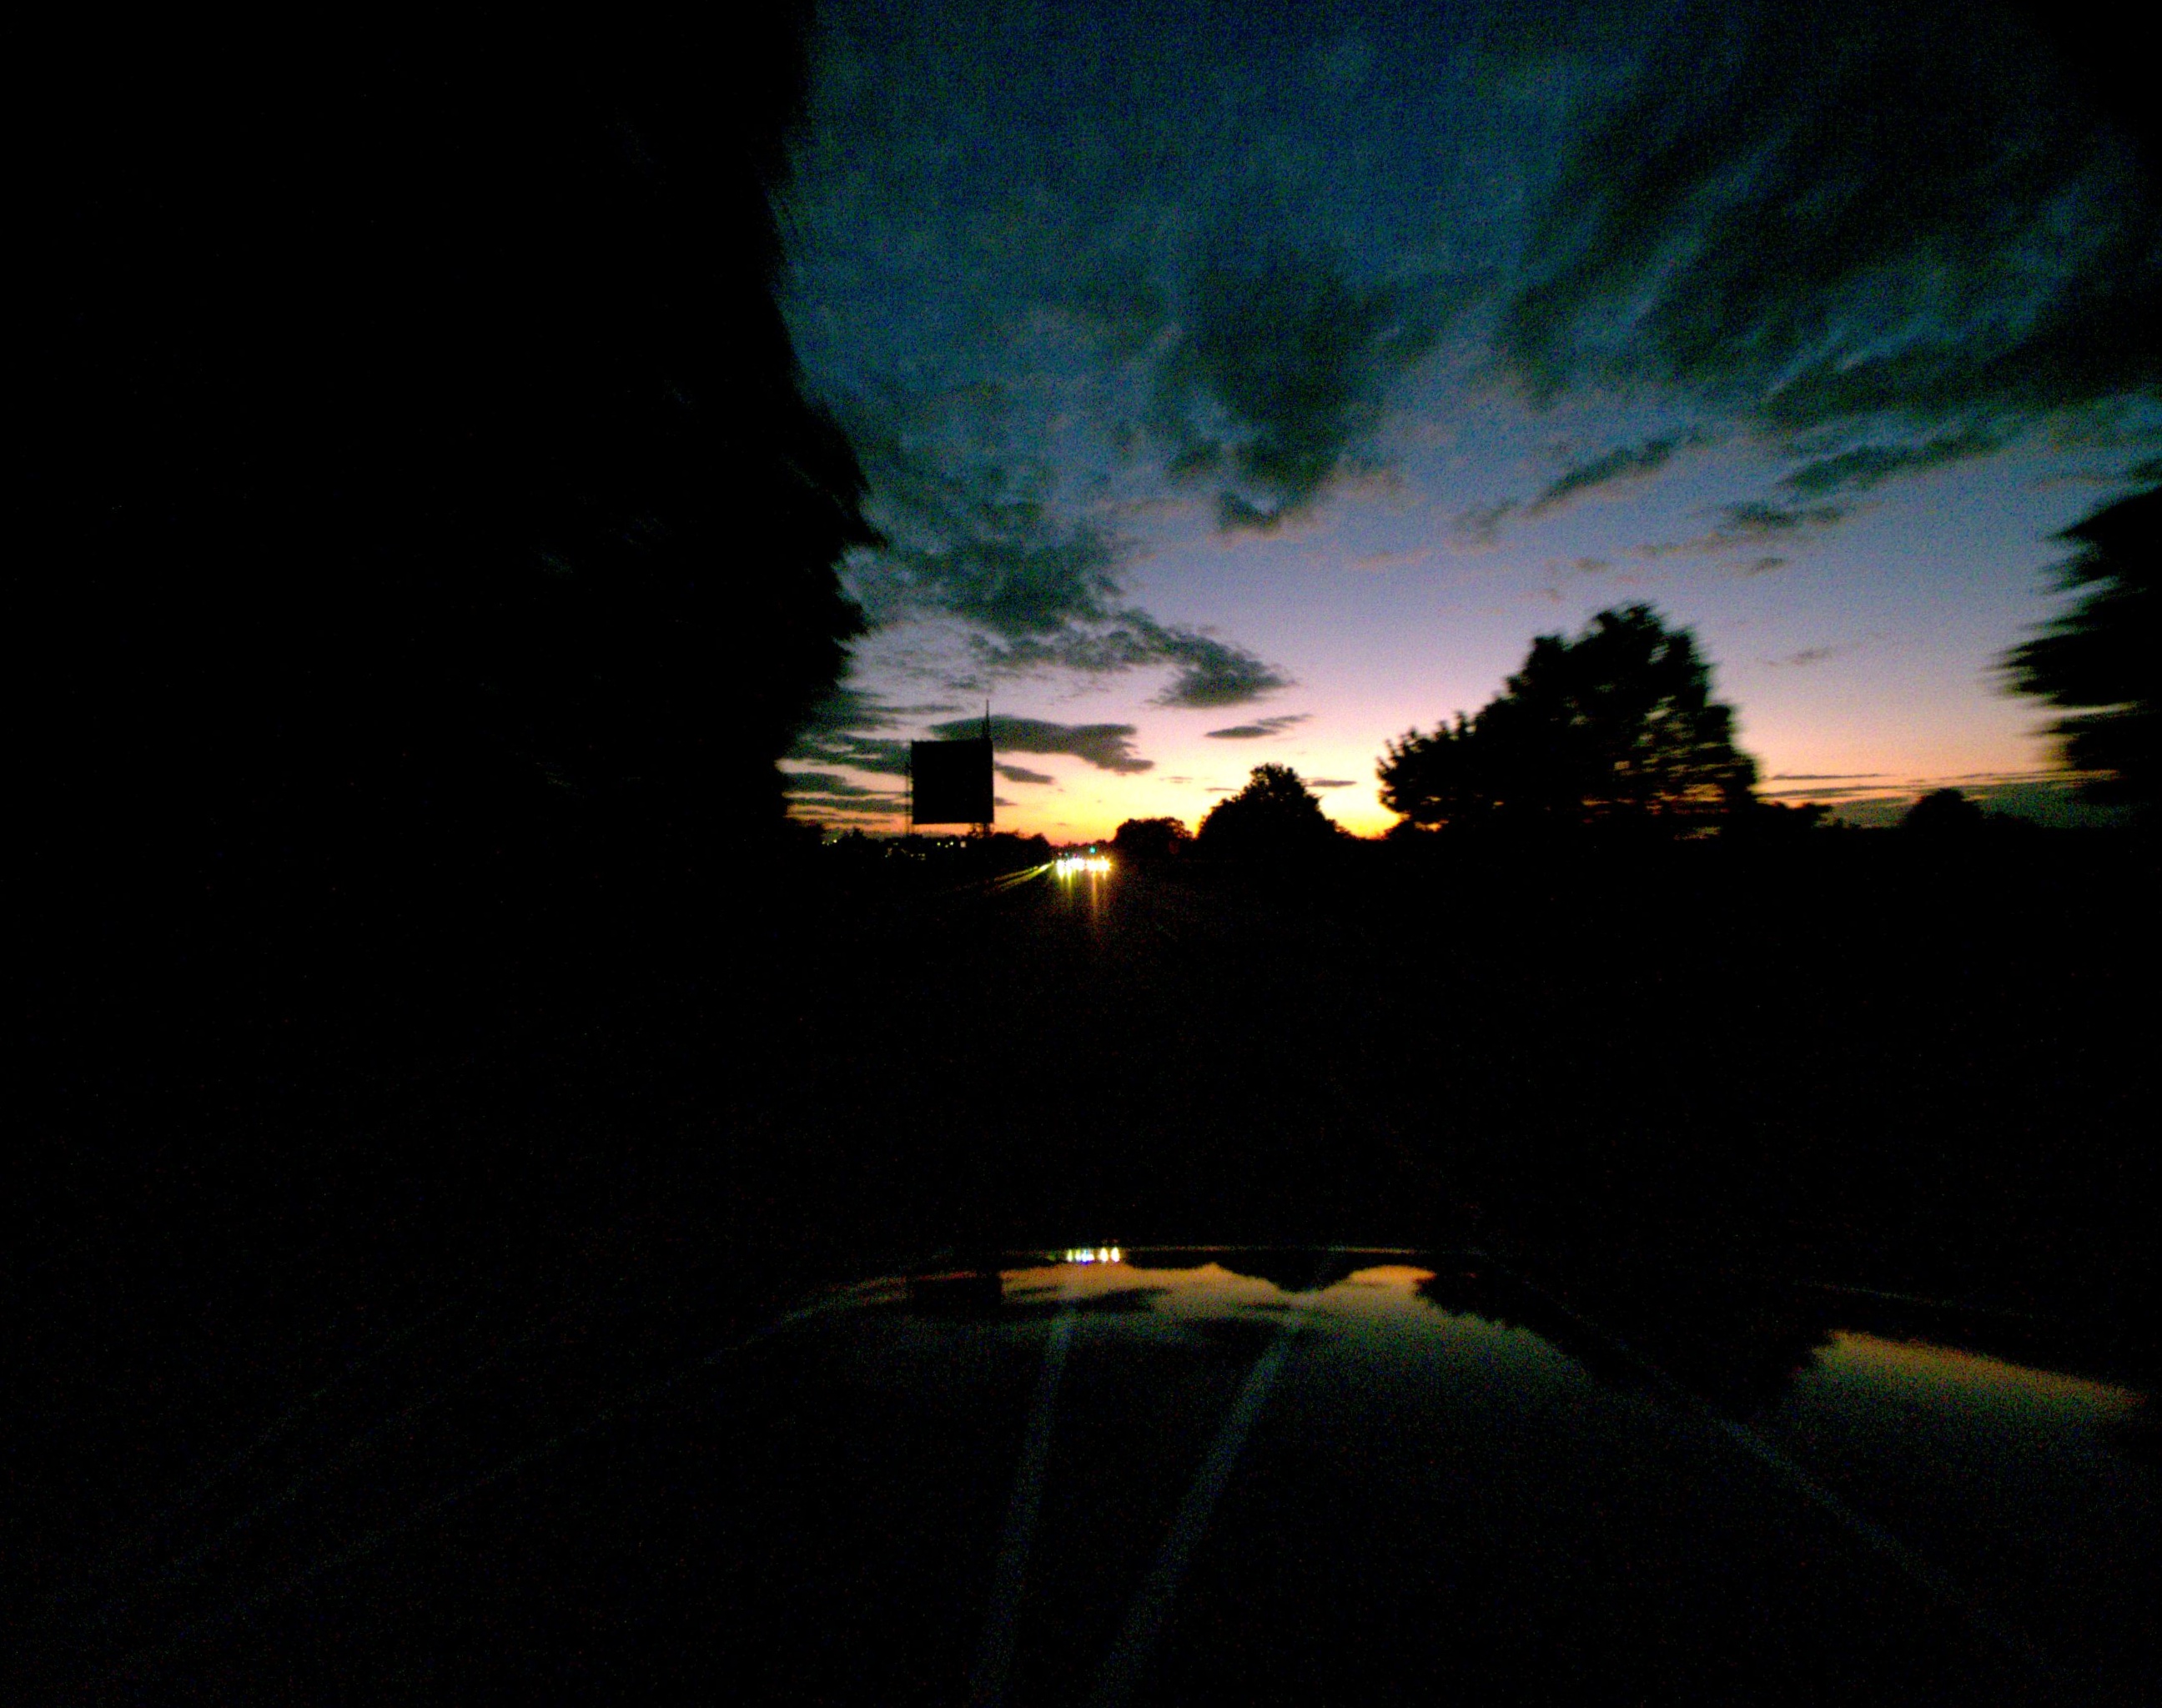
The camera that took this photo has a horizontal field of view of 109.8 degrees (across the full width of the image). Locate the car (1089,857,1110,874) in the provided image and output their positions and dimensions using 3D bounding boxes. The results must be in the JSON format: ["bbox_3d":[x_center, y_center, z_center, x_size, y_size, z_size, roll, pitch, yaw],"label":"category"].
[{"bbox_3d":[1.951,1.144,79.712,1.999,1.635,4.296,-2,0,-1],"label":"car"}]

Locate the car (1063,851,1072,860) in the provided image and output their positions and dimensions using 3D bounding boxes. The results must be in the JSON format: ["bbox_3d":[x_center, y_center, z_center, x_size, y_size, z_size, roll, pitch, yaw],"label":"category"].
[{"bbox_3d":[-3.234,0.451,178.228,1.998,2.002,4.000,-2,0,0],"label":"car"}]

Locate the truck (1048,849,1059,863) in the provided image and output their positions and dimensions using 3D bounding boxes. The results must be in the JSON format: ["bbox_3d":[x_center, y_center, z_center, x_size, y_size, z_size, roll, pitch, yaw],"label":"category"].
[{"bbox_3d":[-7.207,0.491,199.643,2.491,3.778,5.498,-2,1,0],"label":"truck"}]

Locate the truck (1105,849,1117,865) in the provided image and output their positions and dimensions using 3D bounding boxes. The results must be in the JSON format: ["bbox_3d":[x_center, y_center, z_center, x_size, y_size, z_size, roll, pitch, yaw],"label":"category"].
[{"bbox_3d":[10.263,1.120,260.525,3.211,5.225,12.605,-2,1,-2],"label":"truck"}]

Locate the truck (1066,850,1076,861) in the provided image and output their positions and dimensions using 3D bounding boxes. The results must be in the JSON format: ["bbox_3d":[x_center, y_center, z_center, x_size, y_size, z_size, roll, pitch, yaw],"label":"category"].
[{"bbox_3d":[-3.240,0.410,254.545,3.016,3.674,9.058,-2,0,0],"label":"truck"}]

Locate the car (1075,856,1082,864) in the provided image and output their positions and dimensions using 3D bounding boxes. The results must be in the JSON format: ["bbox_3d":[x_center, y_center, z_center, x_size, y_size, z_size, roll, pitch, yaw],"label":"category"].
[{"bbox_3d":[-0.717,1.616,211.991,1.998,2.002,4.000,-2,0,0],"label":"car"}]

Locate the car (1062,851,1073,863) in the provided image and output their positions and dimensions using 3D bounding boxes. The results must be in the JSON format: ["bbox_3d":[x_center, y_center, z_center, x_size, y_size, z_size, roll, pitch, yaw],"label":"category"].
[{"bbox_3d":[-2.454,0.561,135.228,1.741,2.002,3.999,-2,0,-2],"label":"car"}]

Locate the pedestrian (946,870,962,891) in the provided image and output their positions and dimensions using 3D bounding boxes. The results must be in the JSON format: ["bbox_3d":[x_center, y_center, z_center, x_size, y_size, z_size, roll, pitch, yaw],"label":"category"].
[{"bbox_3d":[-10.228,2.149,61.088,1.065,1.633,1.118,-2,1,-1],"label":"pedestrian"}]

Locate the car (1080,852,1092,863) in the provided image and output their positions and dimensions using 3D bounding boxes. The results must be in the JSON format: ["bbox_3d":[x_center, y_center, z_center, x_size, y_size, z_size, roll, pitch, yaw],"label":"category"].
[{"bbox_3d":[0.914,0.632,140.236,1.999,1.778,3.999,-2,0,-1],"label":"car"}]
